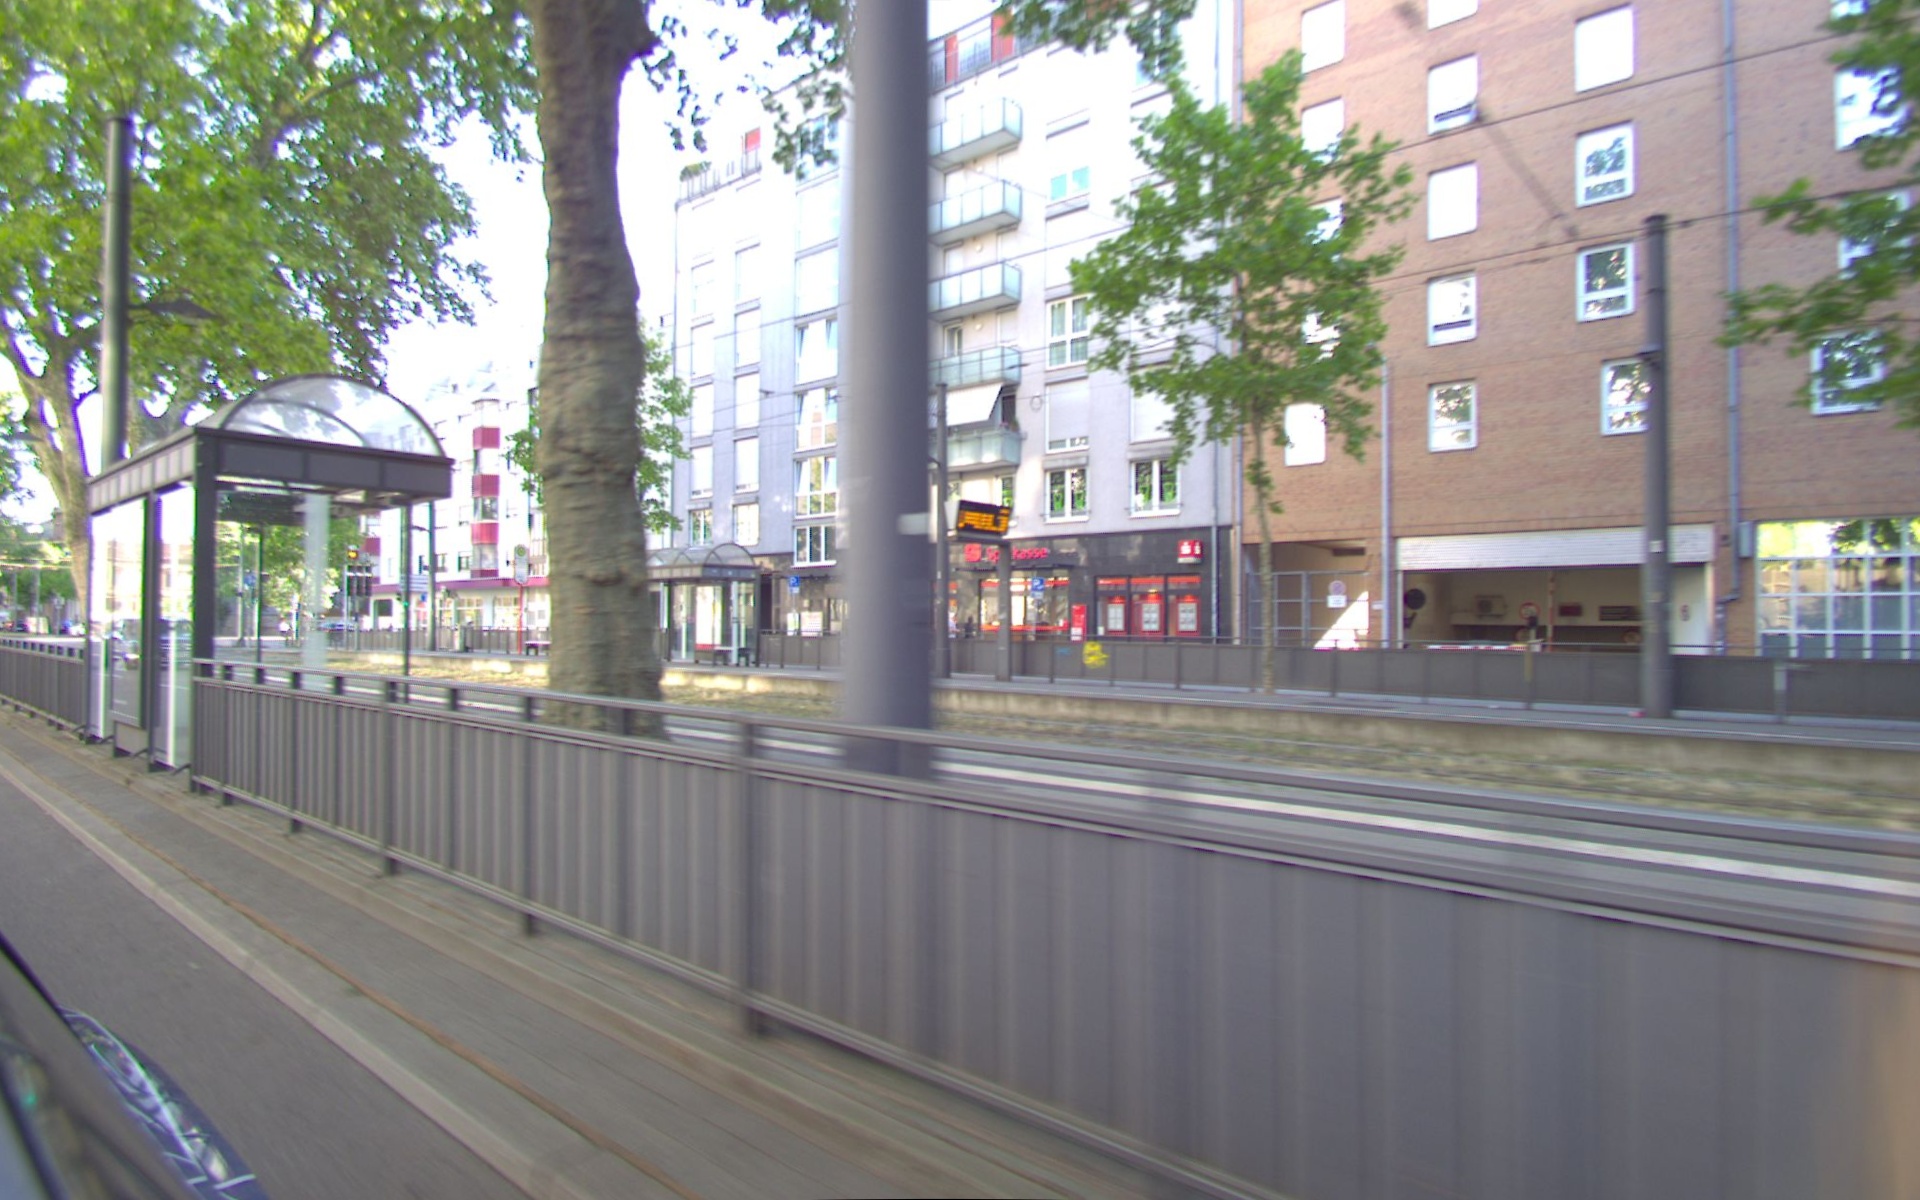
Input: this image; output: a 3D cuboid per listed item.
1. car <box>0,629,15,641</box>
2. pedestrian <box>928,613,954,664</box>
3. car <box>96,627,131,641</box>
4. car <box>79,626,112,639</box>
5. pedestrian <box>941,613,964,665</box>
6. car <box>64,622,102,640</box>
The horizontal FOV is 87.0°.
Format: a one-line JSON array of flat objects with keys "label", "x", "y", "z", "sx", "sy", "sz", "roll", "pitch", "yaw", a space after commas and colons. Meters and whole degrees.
[{"label": "car", "x": -132.510, "y": 4.833, "z": 140.179, "sx": 3.997, "sy": 1.573, "sz": 1.871, "roll": -1, "pitch": -2, "yaw": 41}, {"label": "pedestrian", "x": -0.661, "y": 1.349, "z": 35.941, "sx": 0.784, "sy": 1.784, "sz": 0.497, "roll": 0, "pitch": 0, "yaw": 40}, {"label": "car", "x": -78.833, "y": 3.126, "z": 94.259, "sx": 3.997, "sy": 1.276, "sz": 1.871, "roll": -1, "pitch": -2, "yaw": 41}, {"label": "car", "x": -84.150, "y": 3.151, "z": 98.483, "sx": 3.997, "sy": 1.276, "sz": 1.871, "roll": -1, "pitch": -2, "yaw": 41}, {"label": "pedestrian", "x": -0.249, "y": 1.349, "z": 35.138, "sx": 0.628, "sy": 1.784, "sz": 0.497, "roll": 0, "pitch": 0, "yaw": 40}, {"label": "car", "x": -77.619, "y": 2.731, "z": 89.546, "sx": 3.997, "sy": 1.475, "sz": 1.973, "roll": -1, "pitch": -2, "yaw": 40}]
